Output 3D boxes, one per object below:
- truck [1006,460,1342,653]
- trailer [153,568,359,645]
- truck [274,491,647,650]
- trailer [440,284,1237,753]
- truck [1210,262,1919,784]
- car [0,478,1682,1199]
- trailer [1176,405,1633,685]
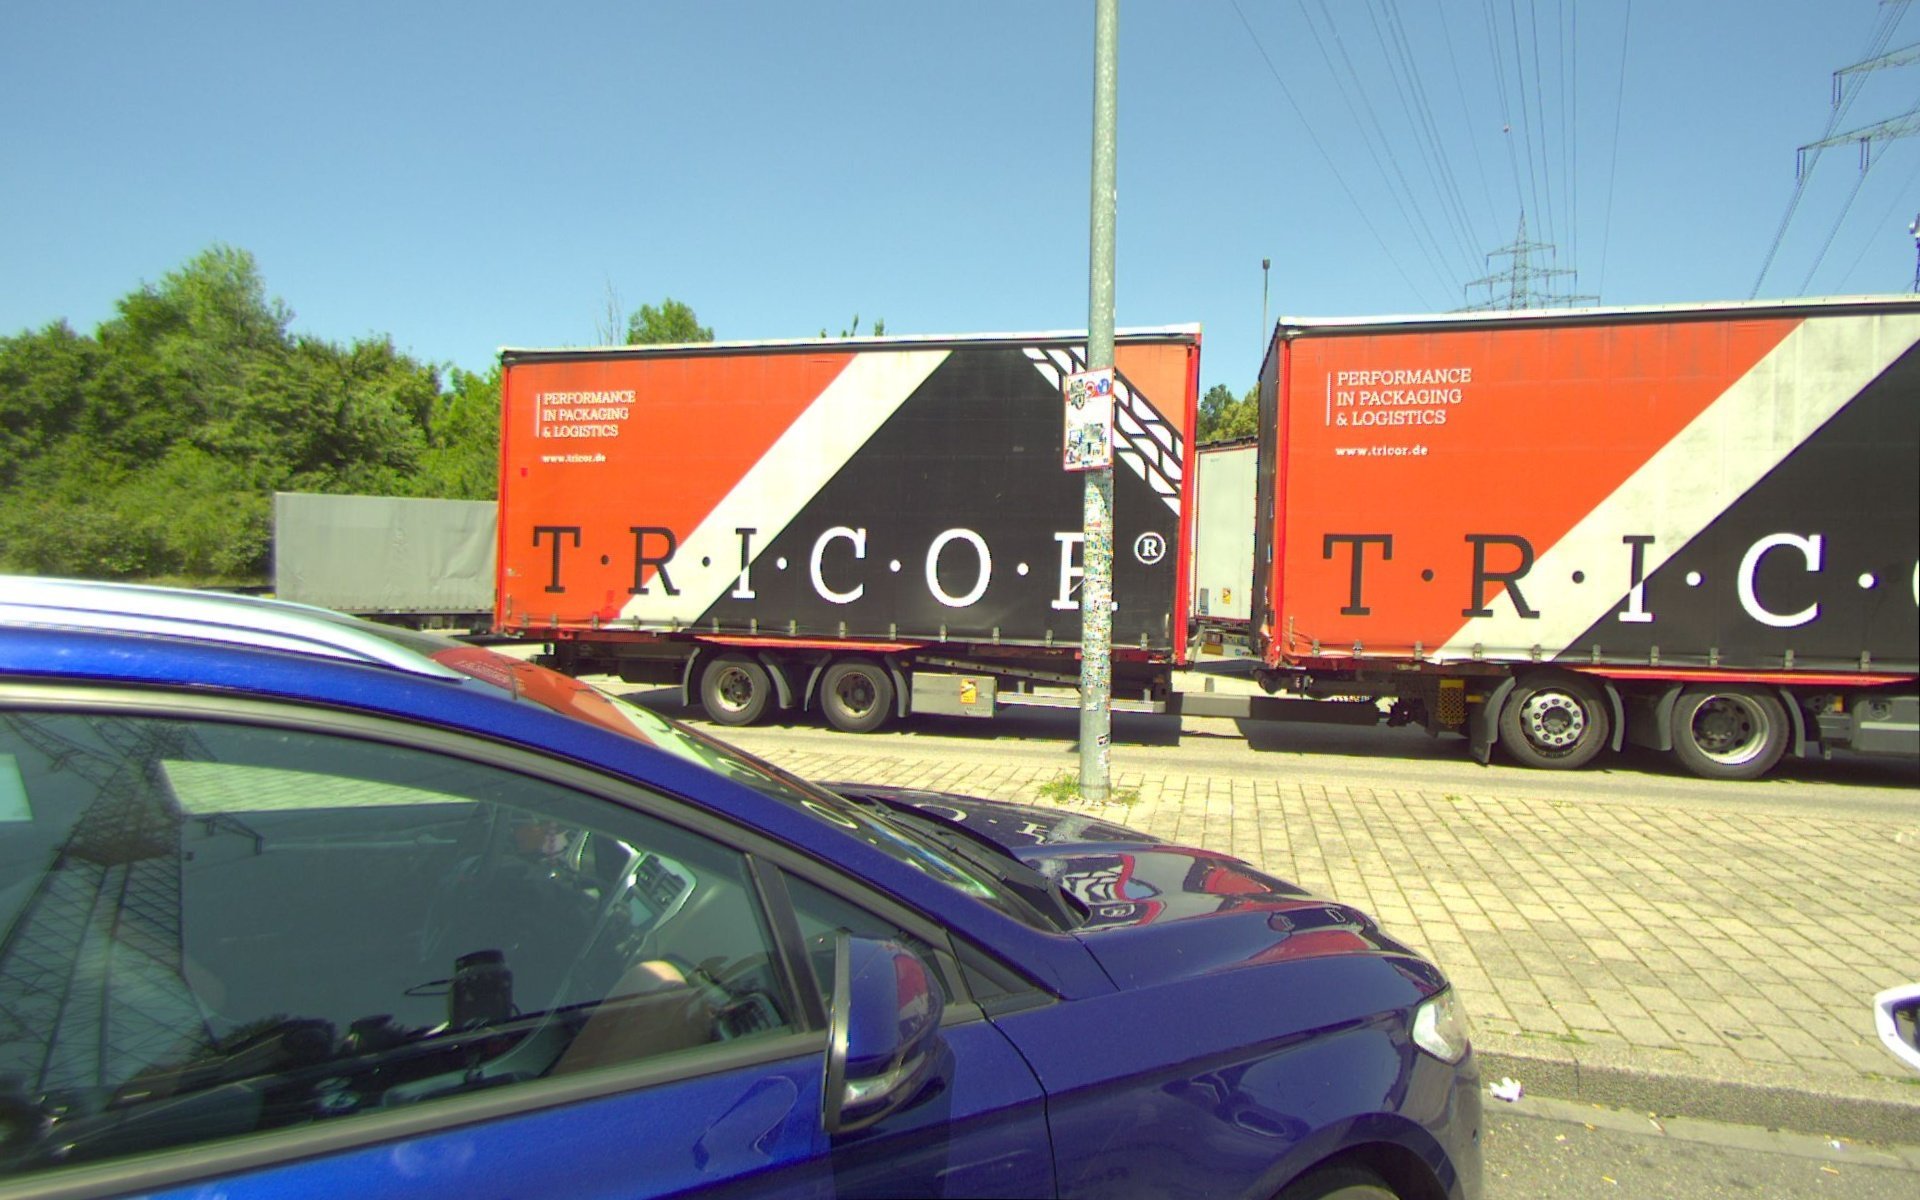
[{"bbox_3d":[5.407,-0.912,24.582,8.534,4.073,2.624,0,1,-30],"label":"truck"},{"bbox_3d":[-16.506,0.146,23.786,3.856,1.684,1.464,0,1,-30],"label":"trailer"},{"bbox_3d":[-11.091,-0.605,22.877,7.265,3.170,2.352,0,1,-30],"label":"truck"},{"bbox_3d":[-1.302,-0.790,11.592,8.509,4.315,2.844,1,0,13],"label":"trailer"},{"bbox_3d":[7.735,-0.617,9.436,10.390,4.183,2.695,1,0,14],"label":"truck"},{"bbox_3d":[-1.003,0.648,1.464,4.419,1.485,1.765,0,1,-32],"label":"car"},{"bbox_3d":[8.717,-0.833,19.107,9.614,4.321,2.733,0,1,-29],"label":"trailer"}]
